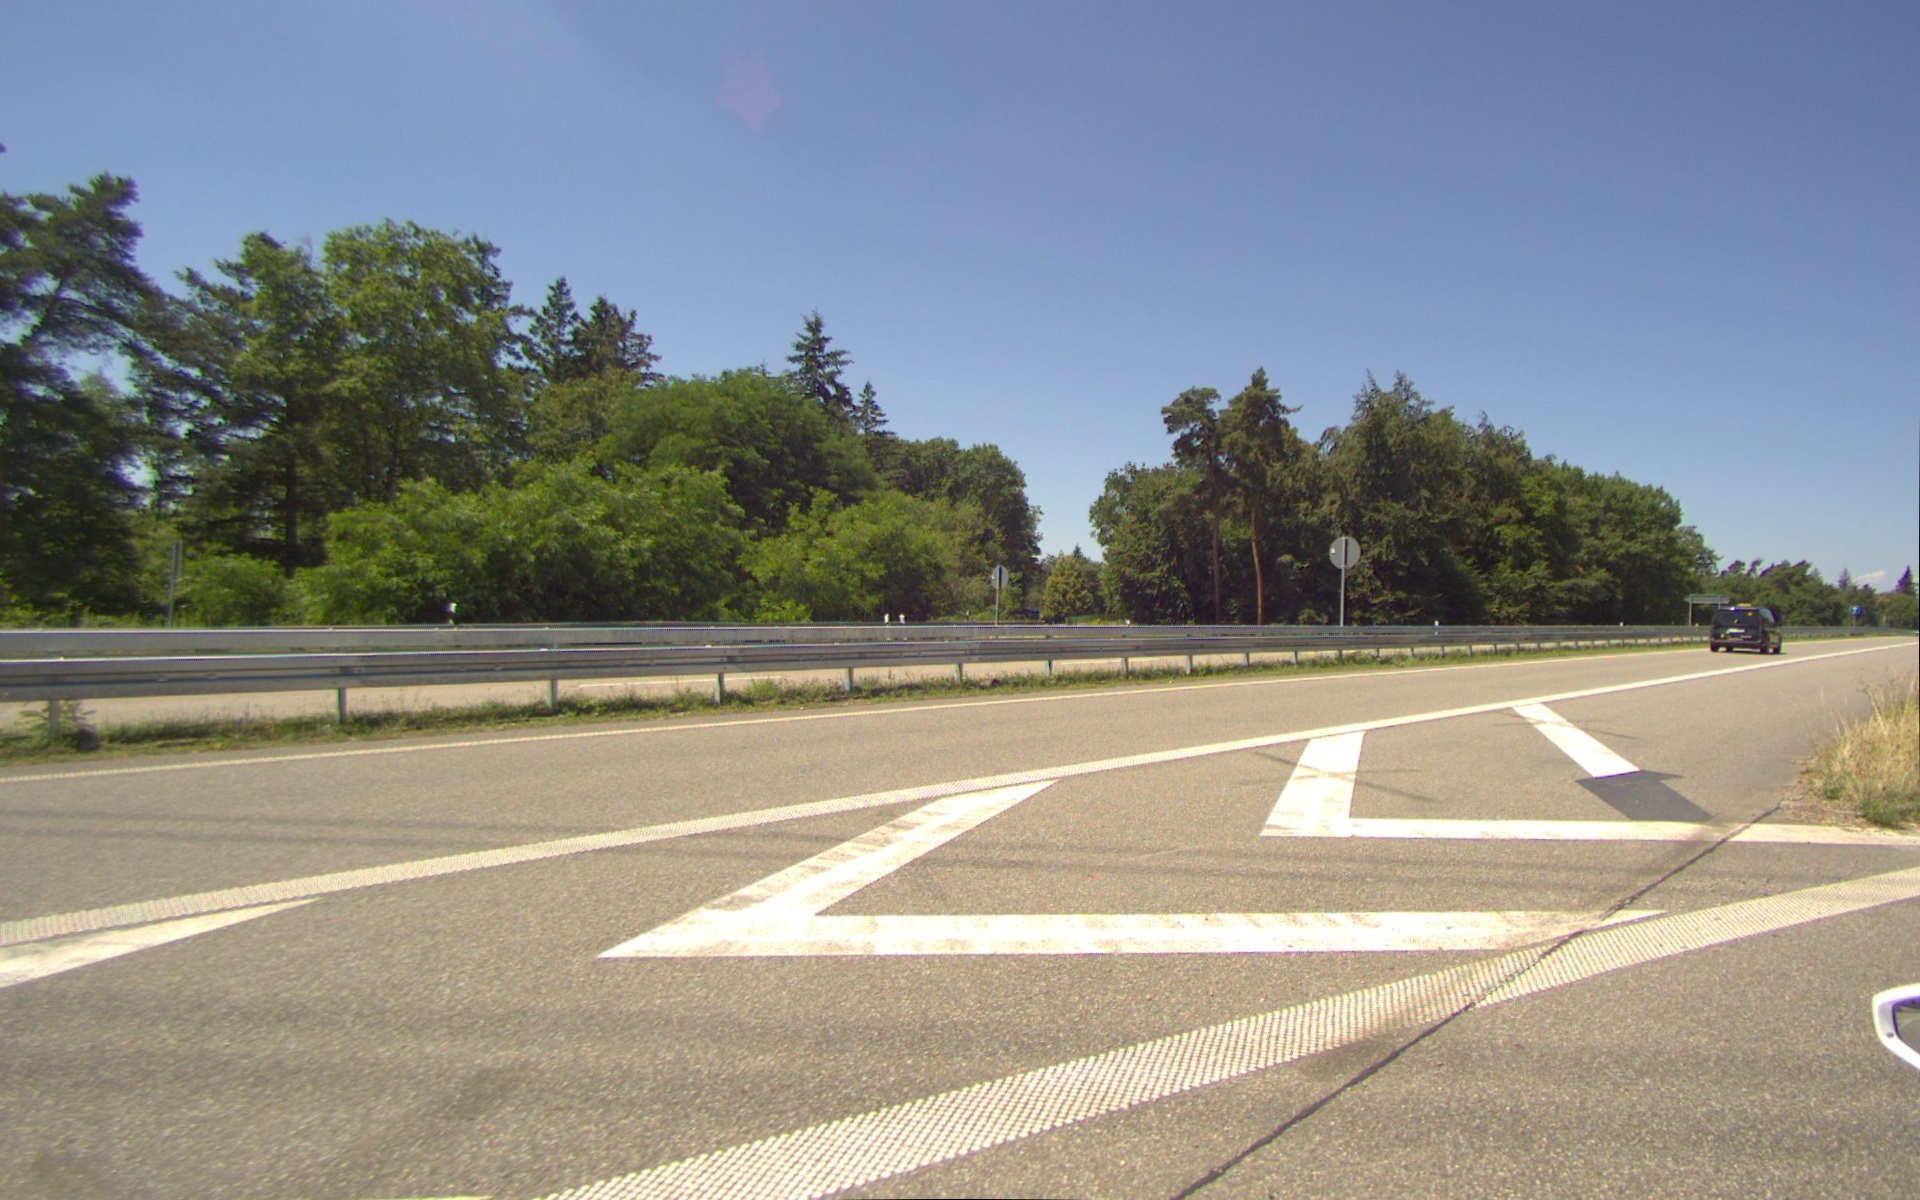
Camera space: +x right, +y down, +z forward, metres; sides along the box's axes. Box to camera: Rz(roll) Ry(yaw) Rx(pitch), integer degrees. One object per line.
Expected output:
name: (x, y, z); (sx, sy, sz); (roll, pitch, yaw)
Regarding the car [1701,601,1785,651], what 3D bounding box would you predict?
car: (31.925, 1.046, 40.909); (5.532, 1.912, 1.837); (1, -1, -43)
